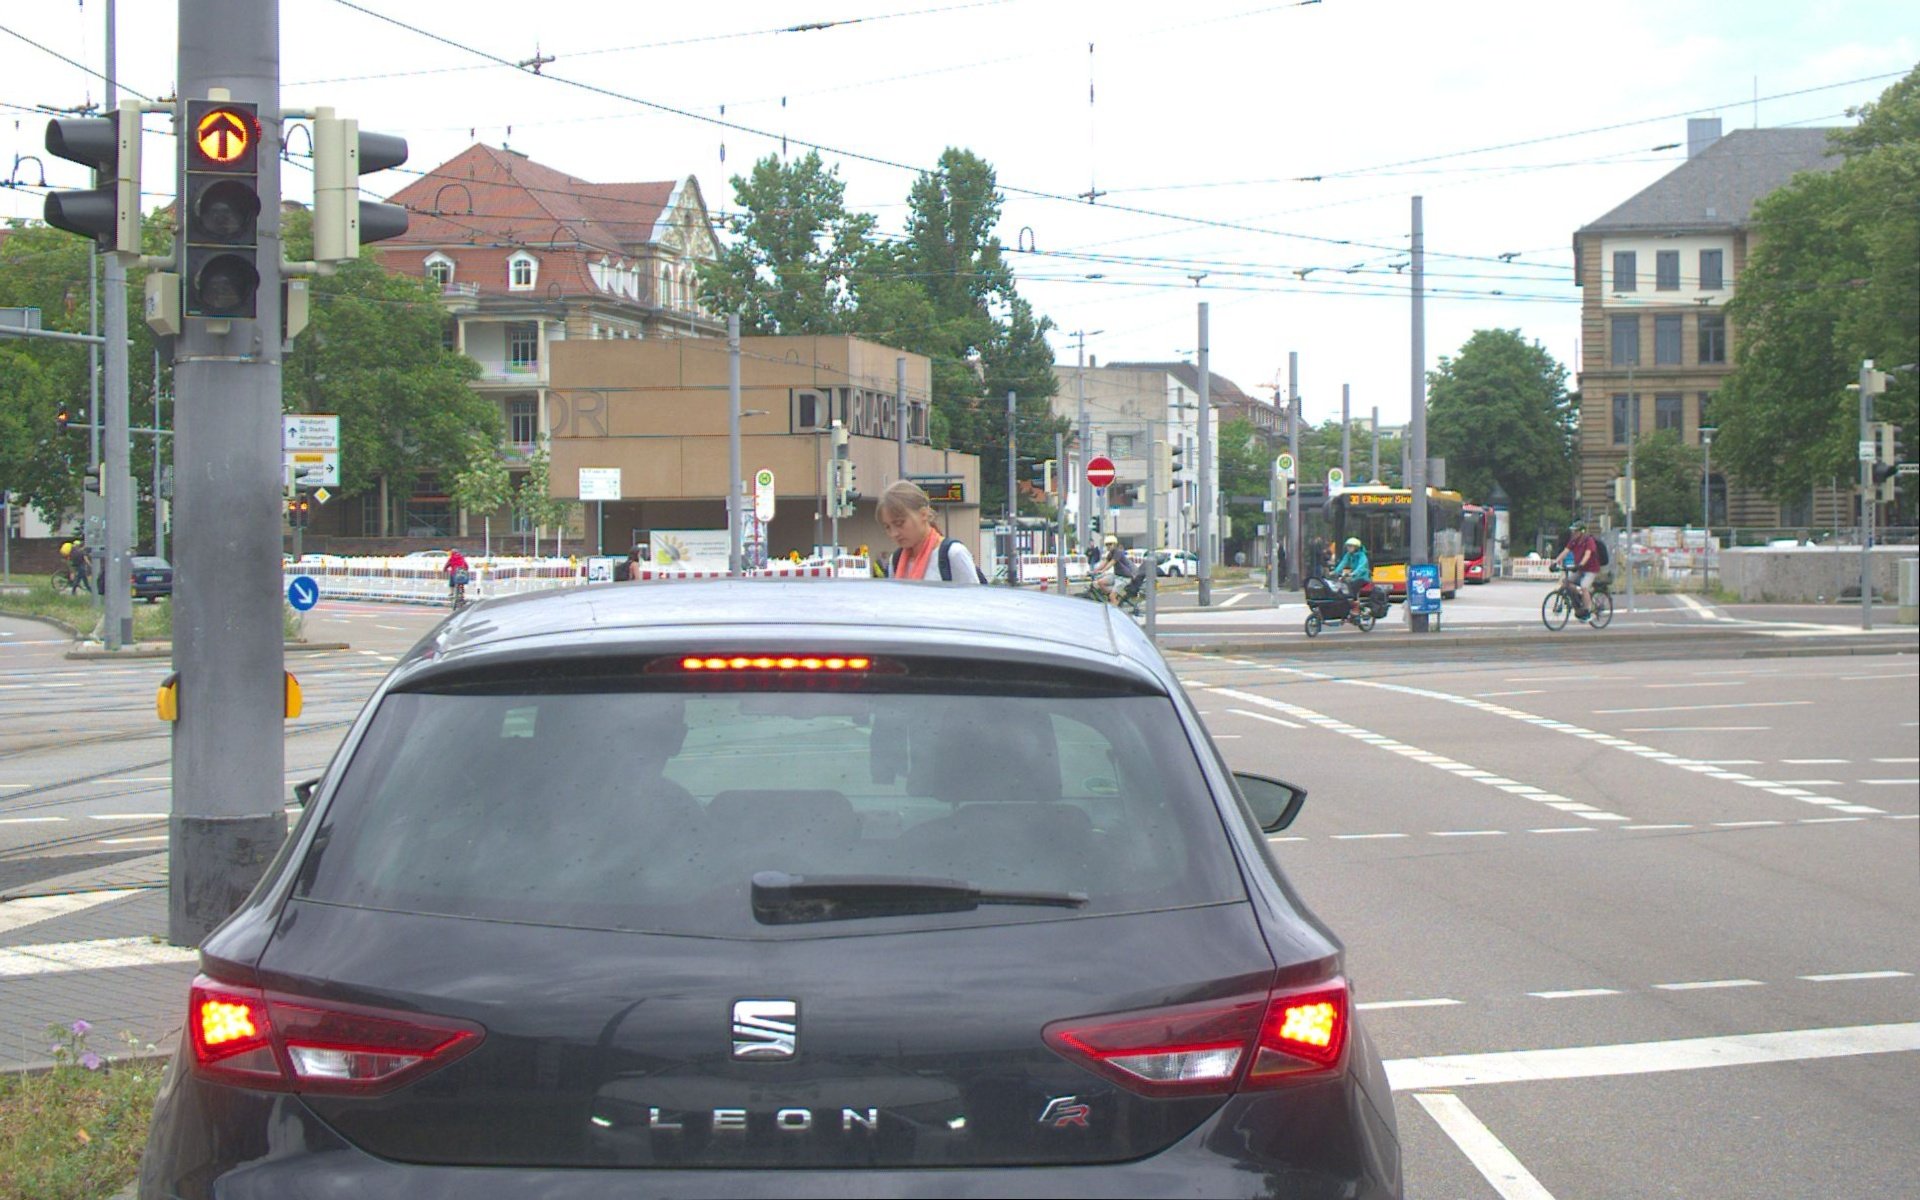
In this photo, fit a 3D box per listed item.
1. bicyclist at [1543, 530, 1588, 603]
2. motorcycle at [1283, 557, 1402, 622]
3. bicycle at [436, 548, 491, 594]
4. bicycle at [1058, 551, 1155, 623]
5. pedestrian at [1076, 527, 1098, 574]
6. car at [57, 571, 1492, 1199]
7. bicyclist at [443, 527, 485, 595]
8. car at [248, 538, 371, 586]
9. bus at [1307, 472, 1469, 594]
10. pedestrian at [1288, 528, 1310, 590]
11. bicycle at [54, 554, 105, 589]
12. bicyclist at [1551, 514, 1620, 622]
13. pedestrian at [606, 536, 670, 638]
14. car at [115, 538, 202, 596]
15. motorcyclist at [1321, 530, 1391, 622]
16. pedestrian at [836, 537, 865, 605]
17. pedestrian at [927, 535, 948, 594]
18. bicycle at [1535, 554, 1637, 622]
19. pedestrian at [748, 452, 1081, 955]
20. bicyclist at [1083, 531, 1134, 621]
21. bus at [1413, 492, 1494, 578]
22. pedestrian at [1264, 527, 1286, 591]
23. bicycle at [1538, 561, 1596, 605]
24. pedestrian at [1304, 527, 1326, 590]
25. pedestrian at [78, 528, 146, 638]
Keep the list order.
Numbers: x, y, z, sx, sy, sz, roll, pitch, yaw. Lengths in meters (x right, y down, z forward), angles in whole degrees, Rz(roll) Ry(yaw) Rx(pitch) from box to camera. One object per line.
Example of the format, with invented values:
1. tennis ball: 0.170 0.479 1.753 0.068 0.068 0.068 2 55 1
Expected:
1. bicyclist: 15.397 -0.856 87.413 0.871 1.845 1.048 0 1 -6
2. motorcycle: 6.903 -0.191 61.967 2.135 1.135 0.744 -1 1 -33
3. bicycle: -12.713 -0.752 87.968 0.891 1.174 2.302 0 1 -22
4. bicycle: 2.738 -0.248 64.251 1.730 1.317 0.645 0 1 -6
5. pedestrian: 5.209 -2.012 141.071 0.622 1.911 0.709 -1 0 25
6. car: -0.356 0.691 5.999 1.704 1.444 3.813 0 1 -4
7. bicyclist: -12.669 -1.012 87.828 0.882 1.726 0.894 0 1 -22
8. car: -23.275 -1.353 123.037 3.987 1.678 2.000 -1 0 1
9. bus: 11.759 -1.813 93.455 2.962 3.112 11.531 0 1 14
10. pedestrian: 10.397 -1.258 105.553 0.621 1.911 0.710 0 1 3
11. bicycle: -31.768 -1.033 124.088 0.434 1.232 1.823 -1 0 43
12. bicyclist: 11.062 -0.570 60.768 0.777 1.891 0.994 1 1 44
13. pedestrian: -6.196 -0.258 66.165 0.700 1.927 1.028 0 1 38
14. car: -24.446 -0.987 104.767 1.993 1.678 4.001 0 0 -22
15. motorcyclist: 7.155 -0.436 62.140 0.977 1.644 0.750 -1 0 -33
16. pedestrian: -3.078 -0.823 96.580 0.708 1.911 0.623 0 1 7
17. pedestrian: -0.727 -1.168 111.619 0.621 1.911 0.710 0 1 3
18. bicycle: 11.073 -0.225 60.758 0.777 1.180 2.027 1 1 44
19. pedestrian: -0.176 0.387 13.621 1.101 1.900 0.735 0 0 -43
20. bicyclist: 2.778 -0.456 64.251 0.854 1.667 0.654 0 1 -7
21. bus: 19.667 -2.578 136.665 2.655 3.272 10.990 0 1 11
22. pedestrian: 9.532 -1.245 104.024 0.621 1.911 0.698 0 1 9
23. bicycle: 15.416 -0.441 87.360 0.865 1.101 2.302 0 1 -5
24. pedestrian: 10.796 -1.263 104.488 0.621 1.911 0.698 0 1 9
25. pedestrian: -15.021 -0.311 60.889 1.027 1.927 0.701 -1 1 -25
